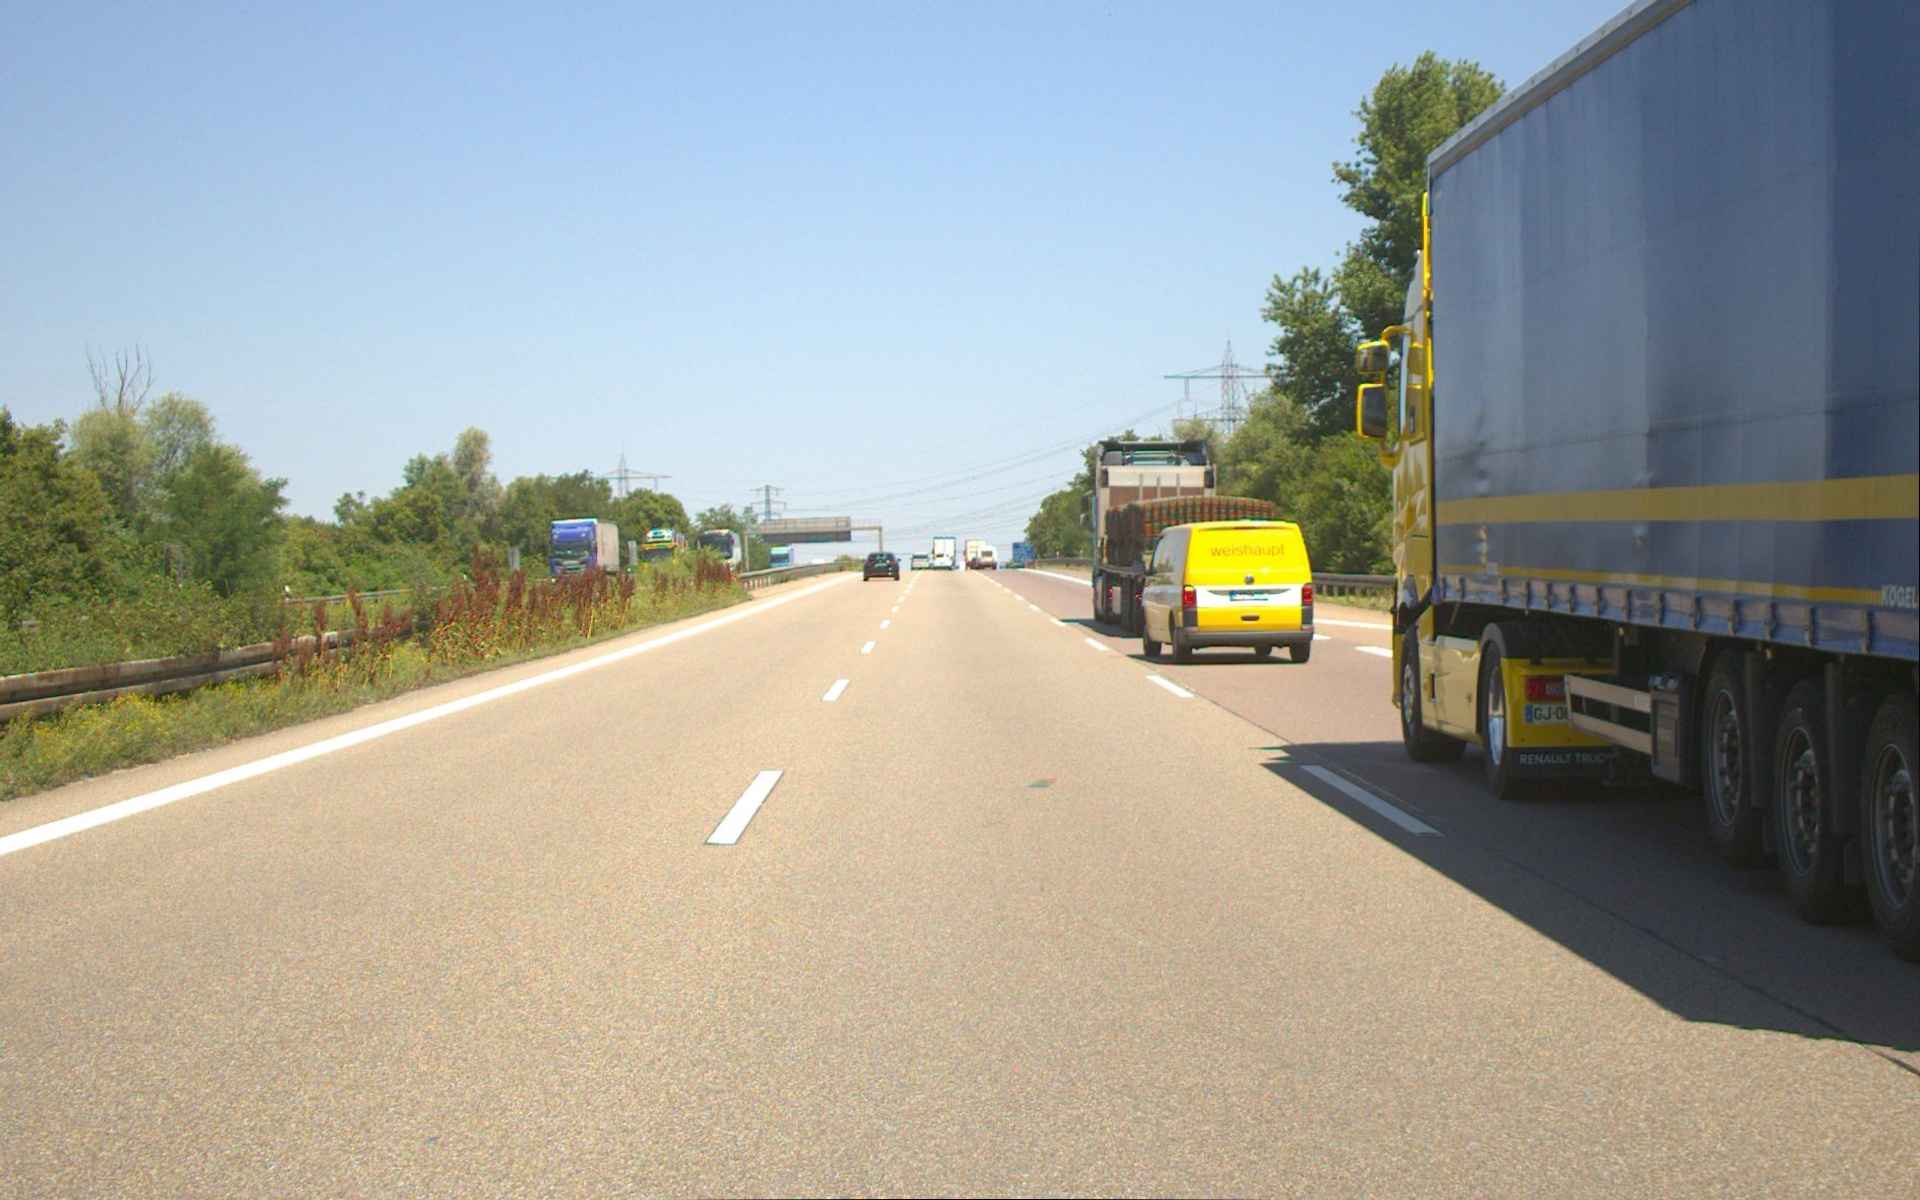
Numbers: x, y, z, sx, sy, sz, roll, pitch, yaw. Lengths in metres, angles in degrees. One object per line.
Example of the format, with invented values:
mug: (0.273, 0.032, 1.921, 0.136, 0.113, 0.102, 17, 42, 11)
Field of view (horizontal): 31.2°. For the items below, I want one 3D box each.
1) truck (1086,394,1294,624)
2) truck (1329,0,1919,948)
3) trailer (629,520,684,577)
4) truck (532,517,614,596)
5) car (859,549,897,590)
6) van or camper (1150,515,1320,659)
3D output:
truck: (4.257, -1.611, 67.399, 2.969, 3.944, 16.613, 0, 0, 0)
truck: (4.407, -1.048, 17.594, 2.845, 4.243, 16.792, -2, 0, -1)
trailer: (-22.278, -3.793, 253.078, 2.921, 3.954, 11.652, -3, 1, -1)
truck: (-22.651, -2.544, 202.213, 2.955, 4.327, 17.471, -2, 1, -1)
car: (-4.078, -1.517, 171.483, 1.791, 2.007, 3.887, 0, 0, 0)
van or camper: (3.795, -0.212, 48.188, 1.993, 1.903, 4.971, 0, 1, 0)
